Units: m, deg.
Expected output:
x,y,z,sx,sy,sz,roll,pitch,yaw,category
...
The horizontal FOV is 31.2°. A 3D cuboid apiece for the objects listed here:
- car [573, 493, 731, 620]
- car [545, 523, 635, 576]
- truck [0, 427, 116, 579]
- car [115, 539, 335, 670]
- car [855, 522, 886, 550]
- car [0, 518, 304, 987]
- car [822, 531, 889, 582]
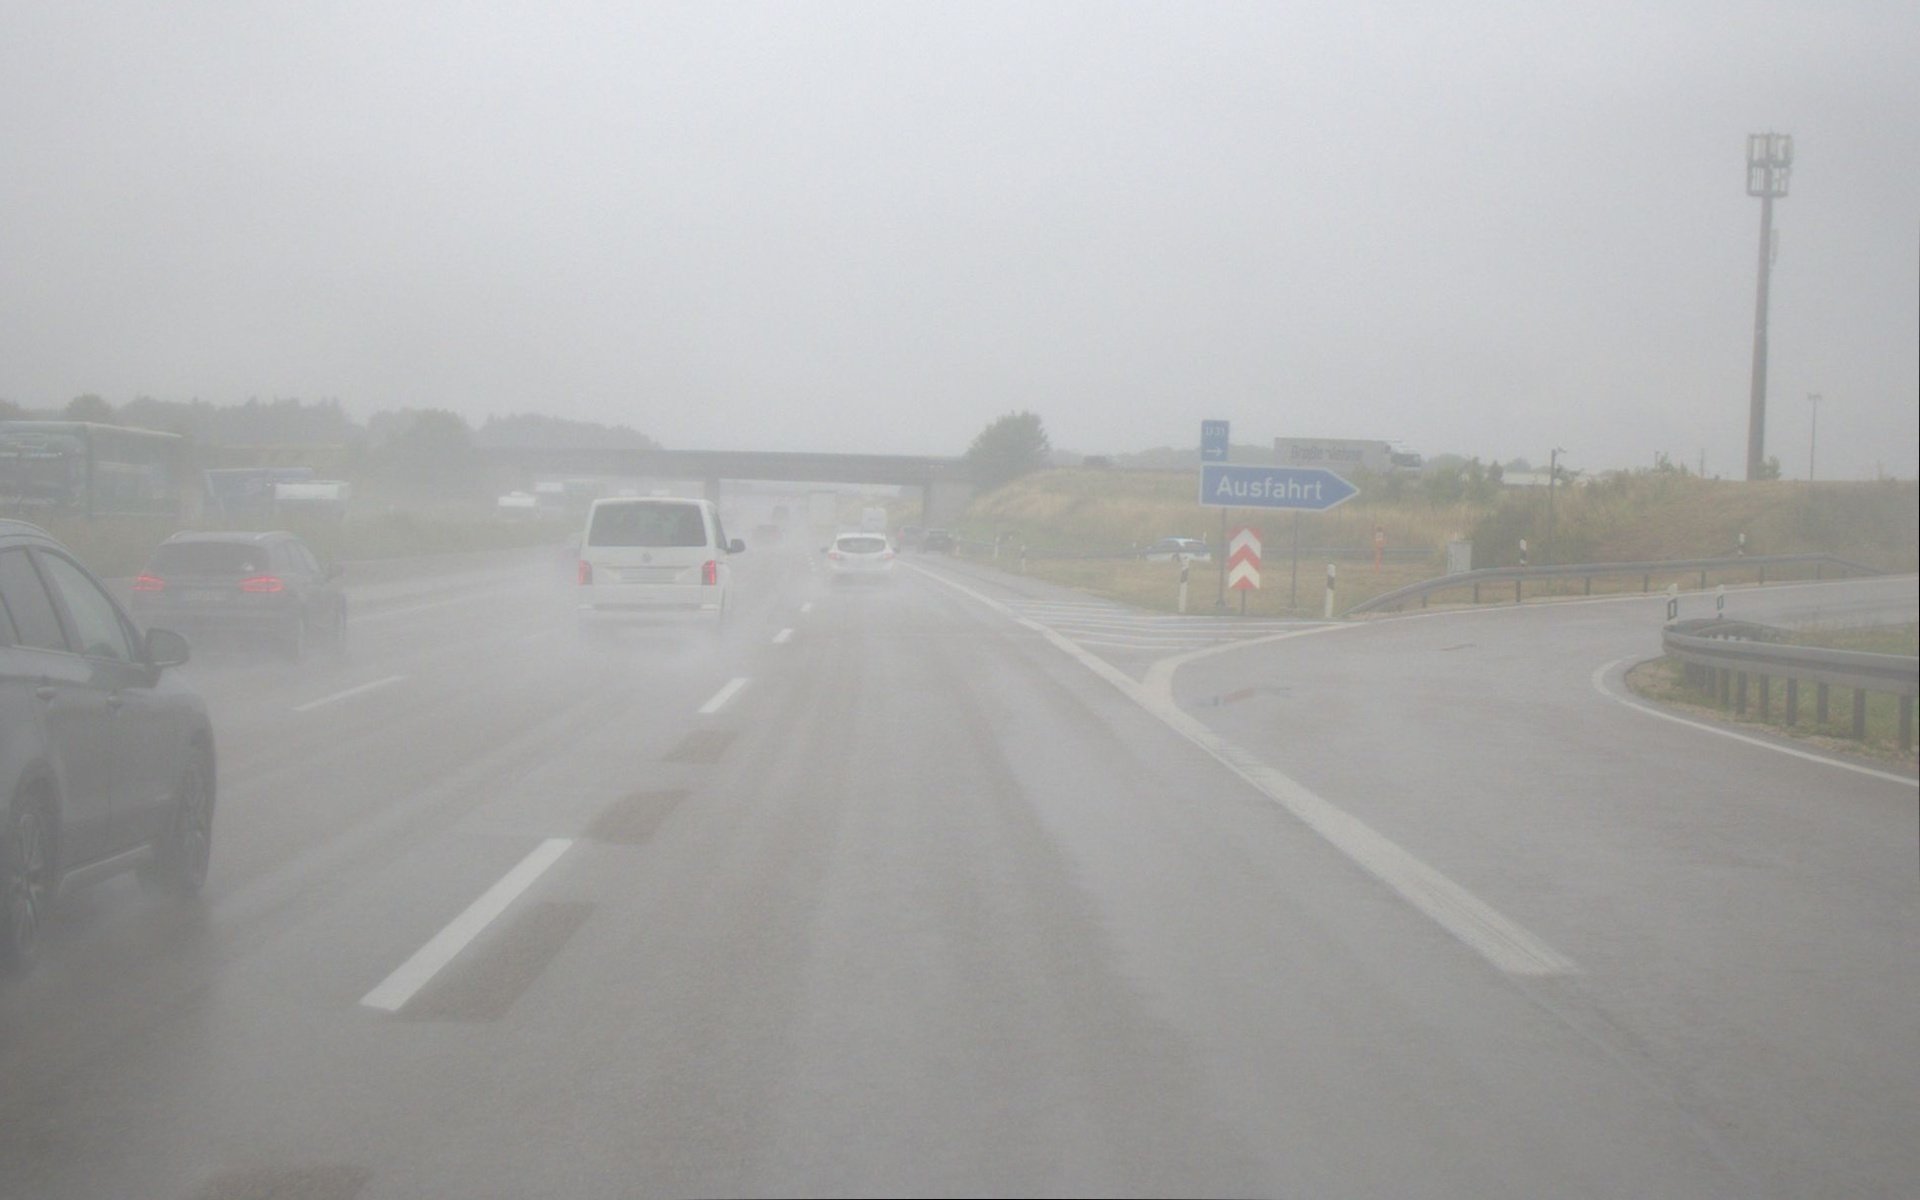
x,y,z,sx,sy,sz,roll,pitch,yaw,category
-4.064,-0.585,45.879,1.897,1.580,4.001,1,1,-3,car
-9.041,-1.232,84.202,1.468,1.253,3.339,1,1,7,car
-24.632,-2.622,93.310,2.213,3.970,5.185,1,1,-1,truck
-8.077,0.015,38.068,1.612,1.349,4.000,1,1,-1,car
-6.636,-4.760,255.510,1.993,2.094,4.001,1,1,-6,car
-3.933,0.432,13.441,1.846,1.508,4.757,1,1,0,car
-2.539,-1.075,83.998,1.468,1.204,2.991,1,1,1,car
